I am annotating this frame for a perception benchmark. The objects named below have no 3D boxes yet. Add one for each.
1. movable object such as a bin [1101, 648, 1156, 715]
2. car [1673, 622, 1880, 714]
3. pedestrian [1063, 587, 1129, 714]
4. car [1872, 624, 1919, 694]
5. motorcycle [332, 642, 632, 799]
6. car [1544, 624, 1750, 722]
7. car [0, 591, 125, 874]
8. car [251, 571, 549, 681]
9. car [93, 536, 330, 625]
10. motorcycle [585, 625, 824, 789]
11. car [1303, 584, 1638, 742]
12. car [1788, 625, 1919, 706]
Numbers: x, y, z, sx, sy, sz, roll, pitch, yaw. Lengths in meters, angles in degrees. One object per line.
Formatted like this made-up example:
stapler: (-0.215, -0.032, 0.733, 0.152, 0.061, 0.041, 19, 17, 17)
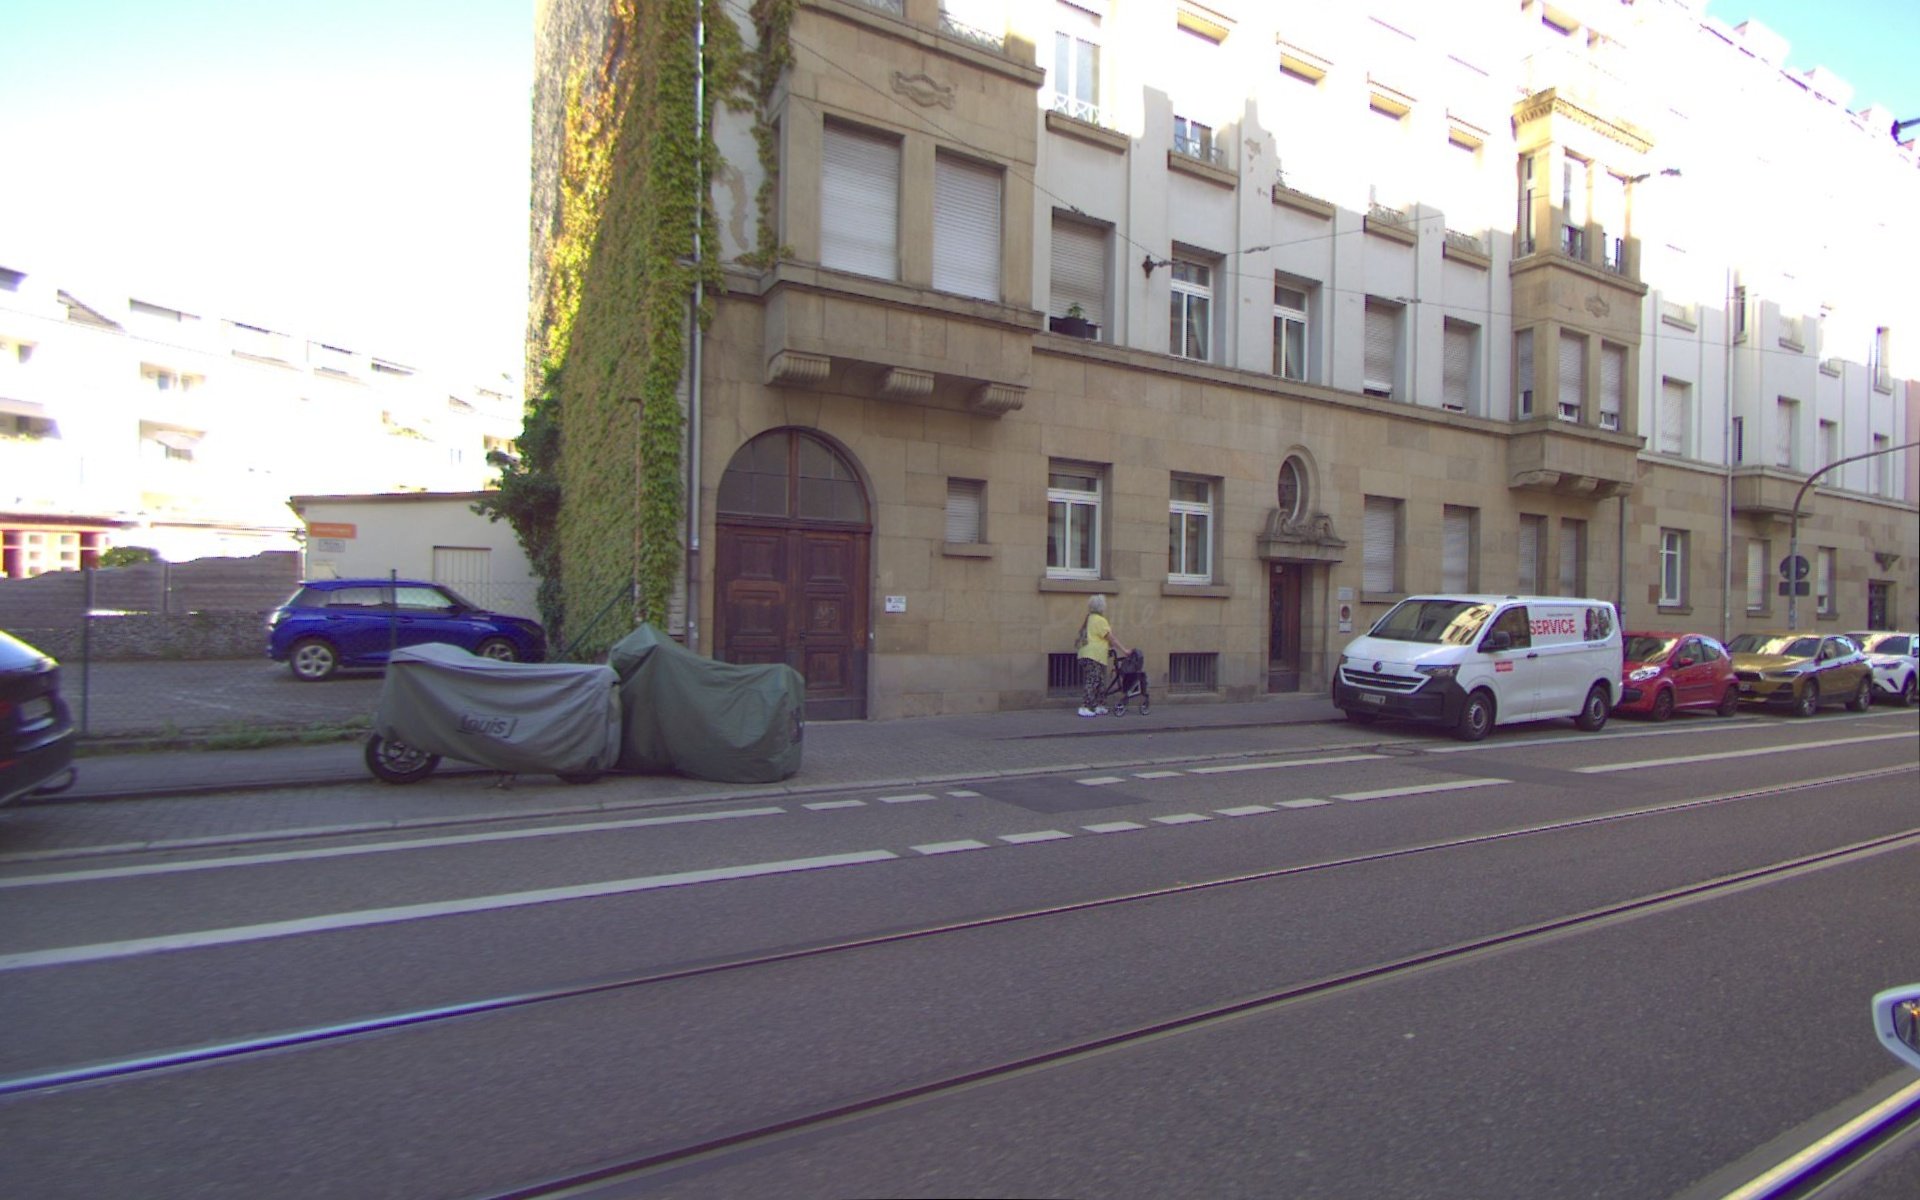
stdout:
movable object such as a bin: (2.434, 1.164, 14.533, 0.512, 0.912, 0.610, 1, 0, -30)
car: (16.026, 1.269, 19.676, 4.310, 1.544, 1.774, 1, 1, -31)
pedestrian: (1.933, 0.705, 14.300, 0.609, 1.747, 0.676, 1, 0, -30)
car: (24.894, 1.481, 25.300, 4.133, 1.643, 1.773, 1, 1, -32)
motorcycle: (-3.948, 0.982, 8.412, 2.137, 1.187, 0.742, 1, 0, 0)
car: (12.177, 1.233, 17.774, 3.603, 1.492, 1.595, 1, 1, -30)
car: (-7.802, 0.720, 5.578, 4.553, 1.586, 1.776, 1, 1, -28)
car: (-8.640, 0.399, 15.758, 3.863, 1.546, 1.744, 1, 0, -30)
car: (-16.239, -0.365, 22.073, 3.953, 1.773, 1.788, 1, 0, -30)
motorcycle: (-2.293, 0.940, 9.216, 1.918, 1.369, 0.886, 1, 0, 2)
car: (7.668, 0.836, 14.918, 5.192, 1.975, 1.962, 1, 1, -31)
car: (20.500, 1.400, 22.467, 4.318, 1.568, 1.762, 1, 1, -32)
